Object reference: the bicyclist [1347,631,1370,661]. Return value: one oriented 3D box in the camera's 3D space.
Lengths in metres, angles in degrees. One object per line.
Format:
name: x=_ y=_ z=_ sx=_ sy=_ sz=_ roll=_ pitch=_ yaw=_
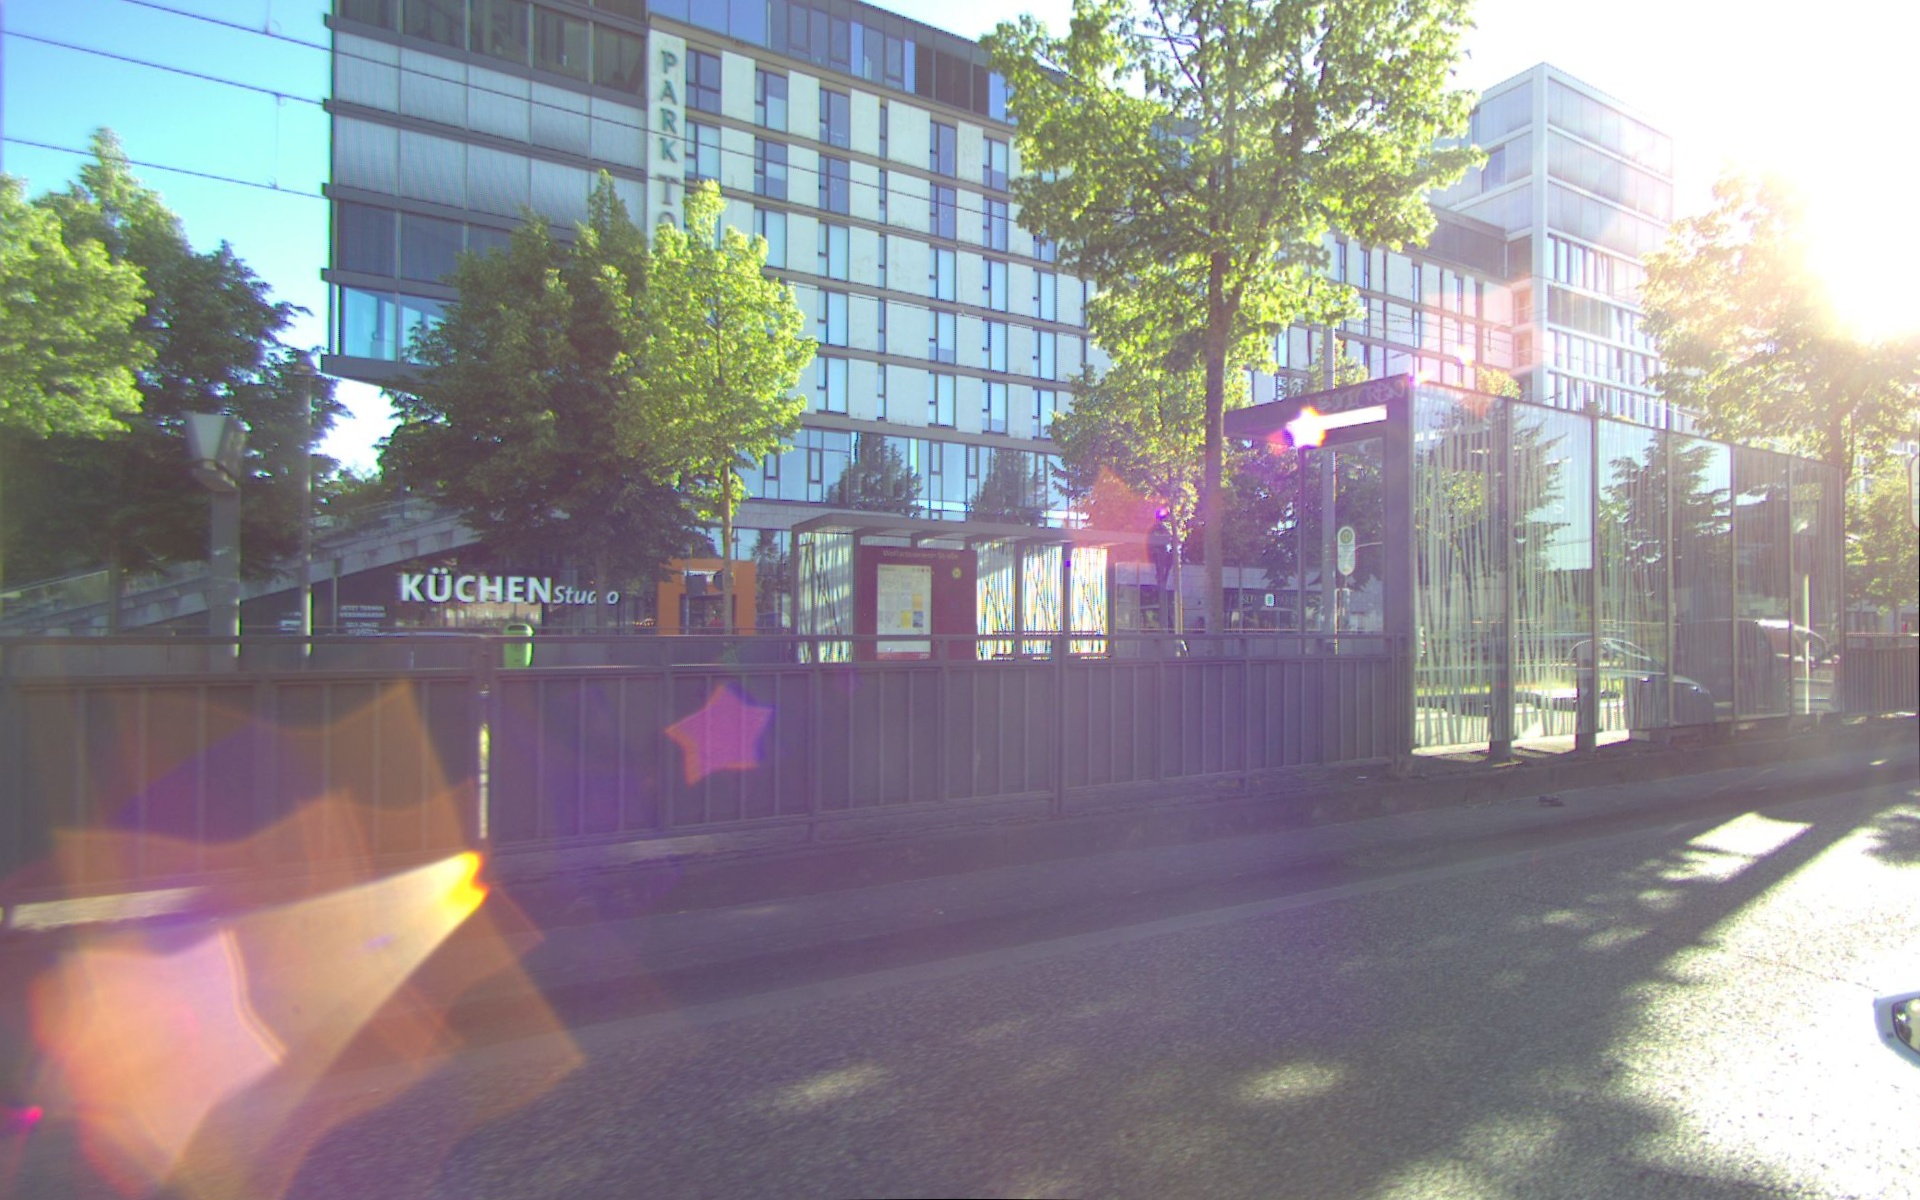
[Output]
bicyclist: x=19.769 y=2.271 z=49.861 sx=0.821 sy=1.483 sz=0.717 roll=1 pitch=-1 yaw=-28
